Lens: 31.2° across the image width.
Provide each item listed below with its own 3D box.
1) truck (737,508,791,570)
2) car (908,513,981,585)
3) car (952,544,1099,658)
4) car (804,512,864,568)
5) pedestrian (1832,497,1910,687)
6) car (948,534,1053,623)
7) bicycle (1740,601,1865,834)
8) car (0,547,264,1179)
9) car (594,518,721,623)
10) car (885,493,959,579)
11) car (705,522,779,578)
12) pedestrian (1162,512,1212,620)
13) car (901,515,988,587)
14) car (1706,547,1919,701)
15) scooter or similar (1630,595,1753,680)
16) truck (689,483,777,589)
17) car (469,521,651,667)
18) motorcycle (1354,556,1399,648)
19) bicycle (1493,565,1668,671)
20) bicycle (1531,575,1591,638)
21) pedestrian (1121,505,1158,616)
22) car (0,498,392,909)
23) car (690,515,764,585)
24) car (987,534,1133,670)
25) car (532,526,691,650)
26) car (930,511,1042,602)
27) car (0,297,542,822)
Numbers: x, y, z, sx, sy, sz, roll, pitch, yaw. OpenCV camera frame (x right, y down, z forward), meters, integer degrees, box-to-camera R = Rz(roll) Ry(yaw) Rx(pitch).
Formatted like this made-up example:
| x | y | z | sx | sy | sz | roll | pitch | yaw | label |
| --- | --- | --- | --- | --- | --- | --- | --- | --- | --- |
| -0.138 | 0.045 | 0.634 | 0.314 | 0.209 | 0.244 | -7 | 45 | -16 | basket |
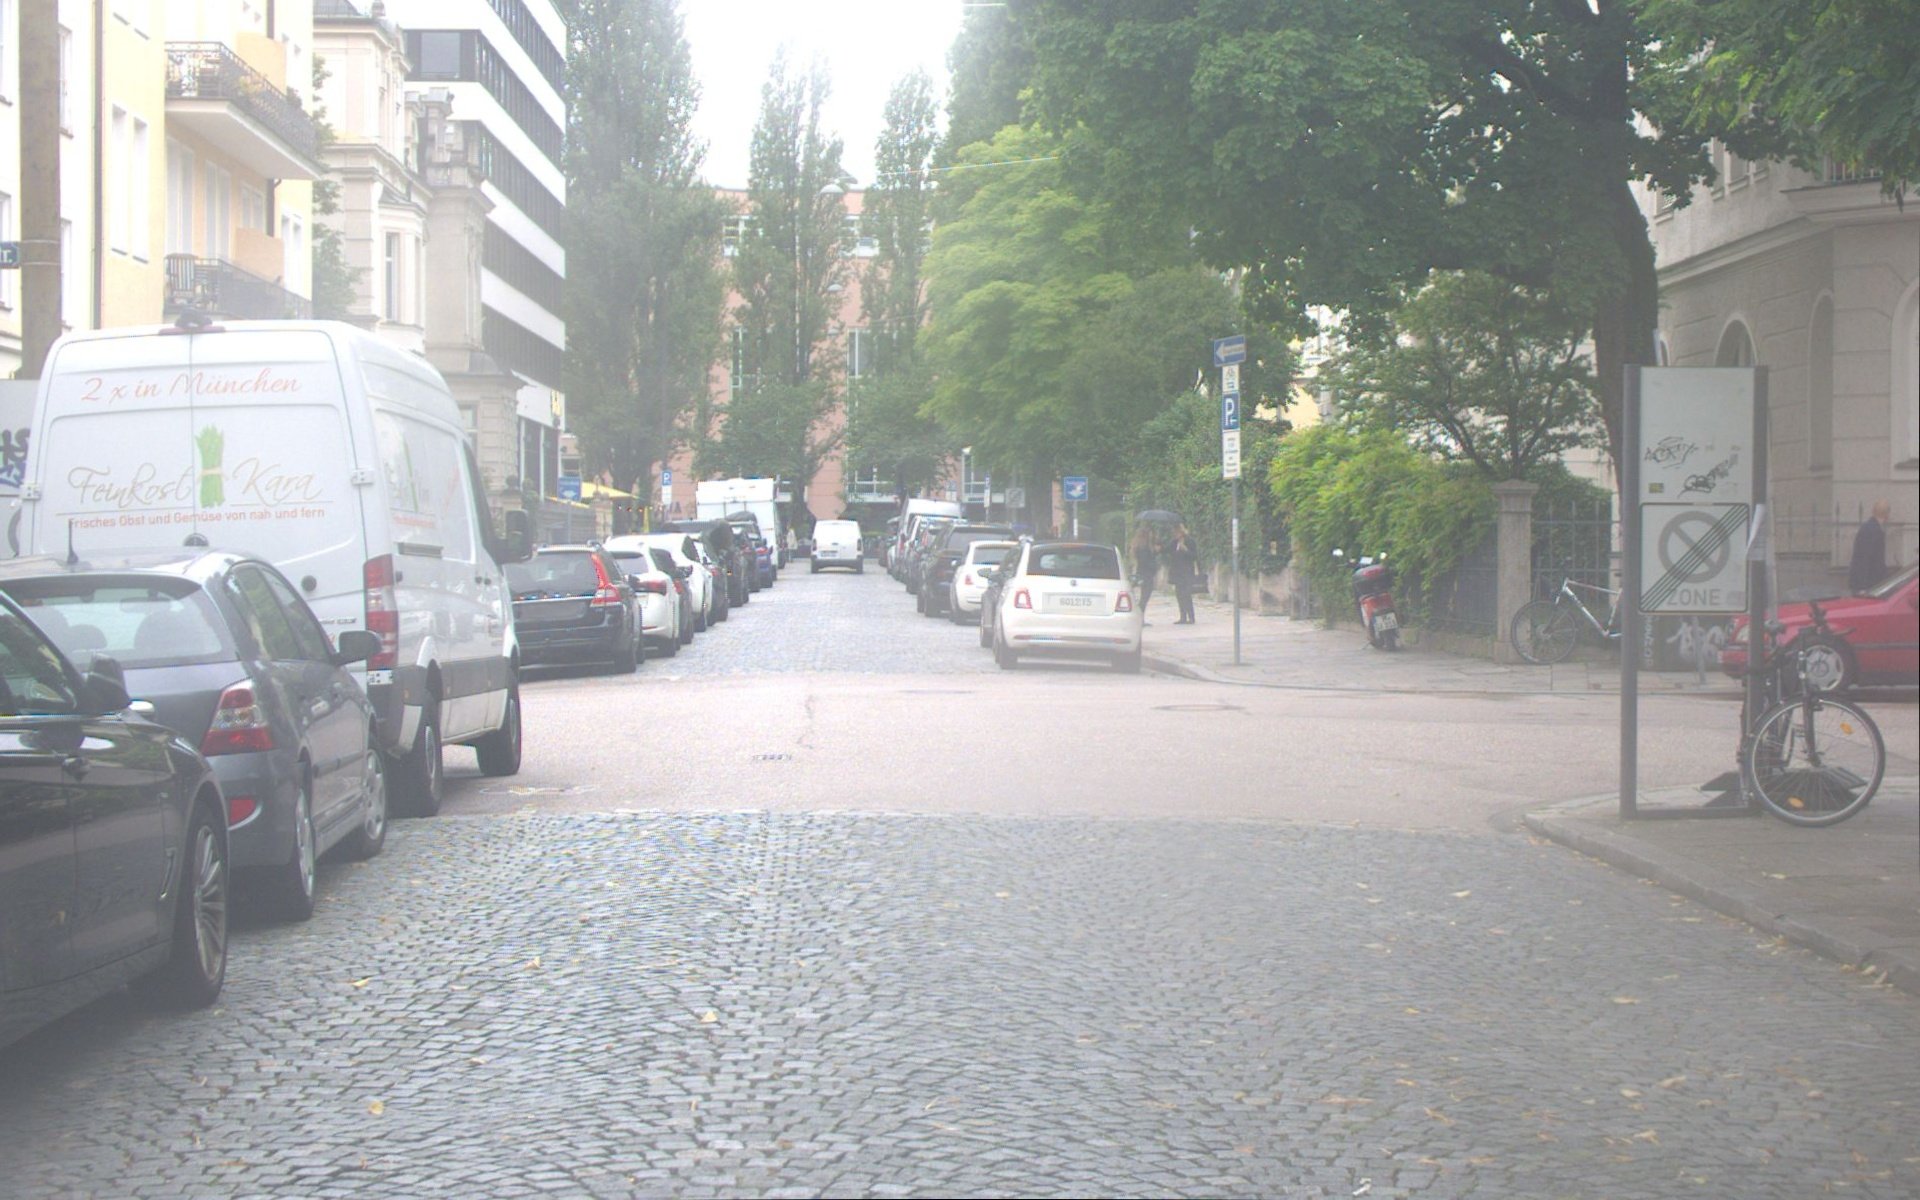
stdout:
| x | y | z | sx | sy | sz | roll | pitch | yaw | label |
| --- | --- | --- | --- | --- | --- | --- | --- | --- | --- |
| -7.563 | -2.336 | 132.806 | 1.993 | 2.338 | 4.068 | 1 | 1 | -2 | truck |
| -0.473 | -1.478 | 99.671 | 1.800 | 1.943 | 4.861 | 3 | 1 | -3 | car |
| 0.872 | -0.019 | 48.458 | 1.648 | 1.417 | 4.633 | 4 | 1 | -3 | car |
| -4.360 | -2.079 | 119.569 | 1.996 | 1.929 | 4.000 | 0 | 1 | -1 | car |
| 9.089 | -0.080 | 34.320 | 0.493 | 1.869 | 0.743 | 1 | 1 | -7 | pedestrian |
| 0.690 | -0.402 | 61.018 | 1.630 | 1.464 | 3.659 | 3 | 1 | -2 | car |
| 4.386 | 0.588 | 17.957 | 0.388 | 1.143 | 1.589 | 0 | 1 | 5 | bicycle |
| -3.150 | 0.627 | 9.136 | 1.725 | 1.459 | 4.473 | -2 | 1 | -1 | car |
| -4.934 | -0.491 | 56.606 | 1.773 | 1.642 | 4.391 | 1 | 1 | -1 | car |
| -1.198 | -1.985 | 105.017 | 1.895 | 2.418 | 5.612 | 4 | 1 | -3 | car |
| -5.852 | -1.344 | 92.568 | 1.939 | 1.454 | 4.058 | 1 | 1 | -3 | car |
| 3.814 | -0.574 | 57.778 | 0.628 | 1.802 | 0.660 | 1 | 1 | -15 | pedestrian |
| -0.413 | -1.232 | 86.627 | 1.963 | 1.753 | 4.955 | 1 | 1 | -3 | car |
| 9.152 | 0.200 | 31.226 | 4.468 | 1.353 | 1.760 | 0 | 1 | 6 | car |
| 7.642 | 0.384 | 35.971 | 1.183 | 0.845 | 0.924 | 1 | 1 | 8 | scooter or similar |
| -6.831 | -1.968 | 104.069 | 2.508 | 3.021 | 6.386 | -2 | 2 | -3 | truck |
| -4.620 | -0.098 | 40.238 | 1.852 | 1.580 | 4.749 | 1 | 1 | -4 | car |
| 4.982 | 0.016 | 41.140 | 0.362 | 1.086 | 1.403 | 1 | 1 | 1 | motorcycle |
| 6.672 | 0.185 | 37.004 | 1.838 | 1.120 | 0.562 | 0 | 1 | 10 | bicycle |
| 8.140 | 0.078 | 46.621 | 0.491 | 0.809 | 2.273 | 1 | 1 | 2 | bicycle |
| 2.996 | -0.660 | 57.377 | 0.576 | 1.844 | 0.681 | 0 | 1 | 6 | pedestrian |
| -3.416 | 0.344 | 14.397 | 1.661 | 1.477 | 3.983 | 1 | 1 | -4 | car |
| -5.892 | -1.263 | 87.197 | 1.773 | 1.712 | 4.391 | 1 | 1 | -3 | car |
| 1.134 | -0.005 | 40.351 | 1.502 | 1.466 | 3.796 | 2 | 1 | -1 | car |
| -4.536 | -0.183 | 45.283 | 1.773 | 1.531 | 4.541 | 1 | 1 | -2 | car |
| 0.459 | -0.840 | 66.105 | 1.875 | 1.667 | 5.491 | 1 | 1 | -2 | car |
| -3.802 | -0.241 | 20.026 | 1.977 | 2.565 | 5.794 | -1 | 1 | 0 | car |
